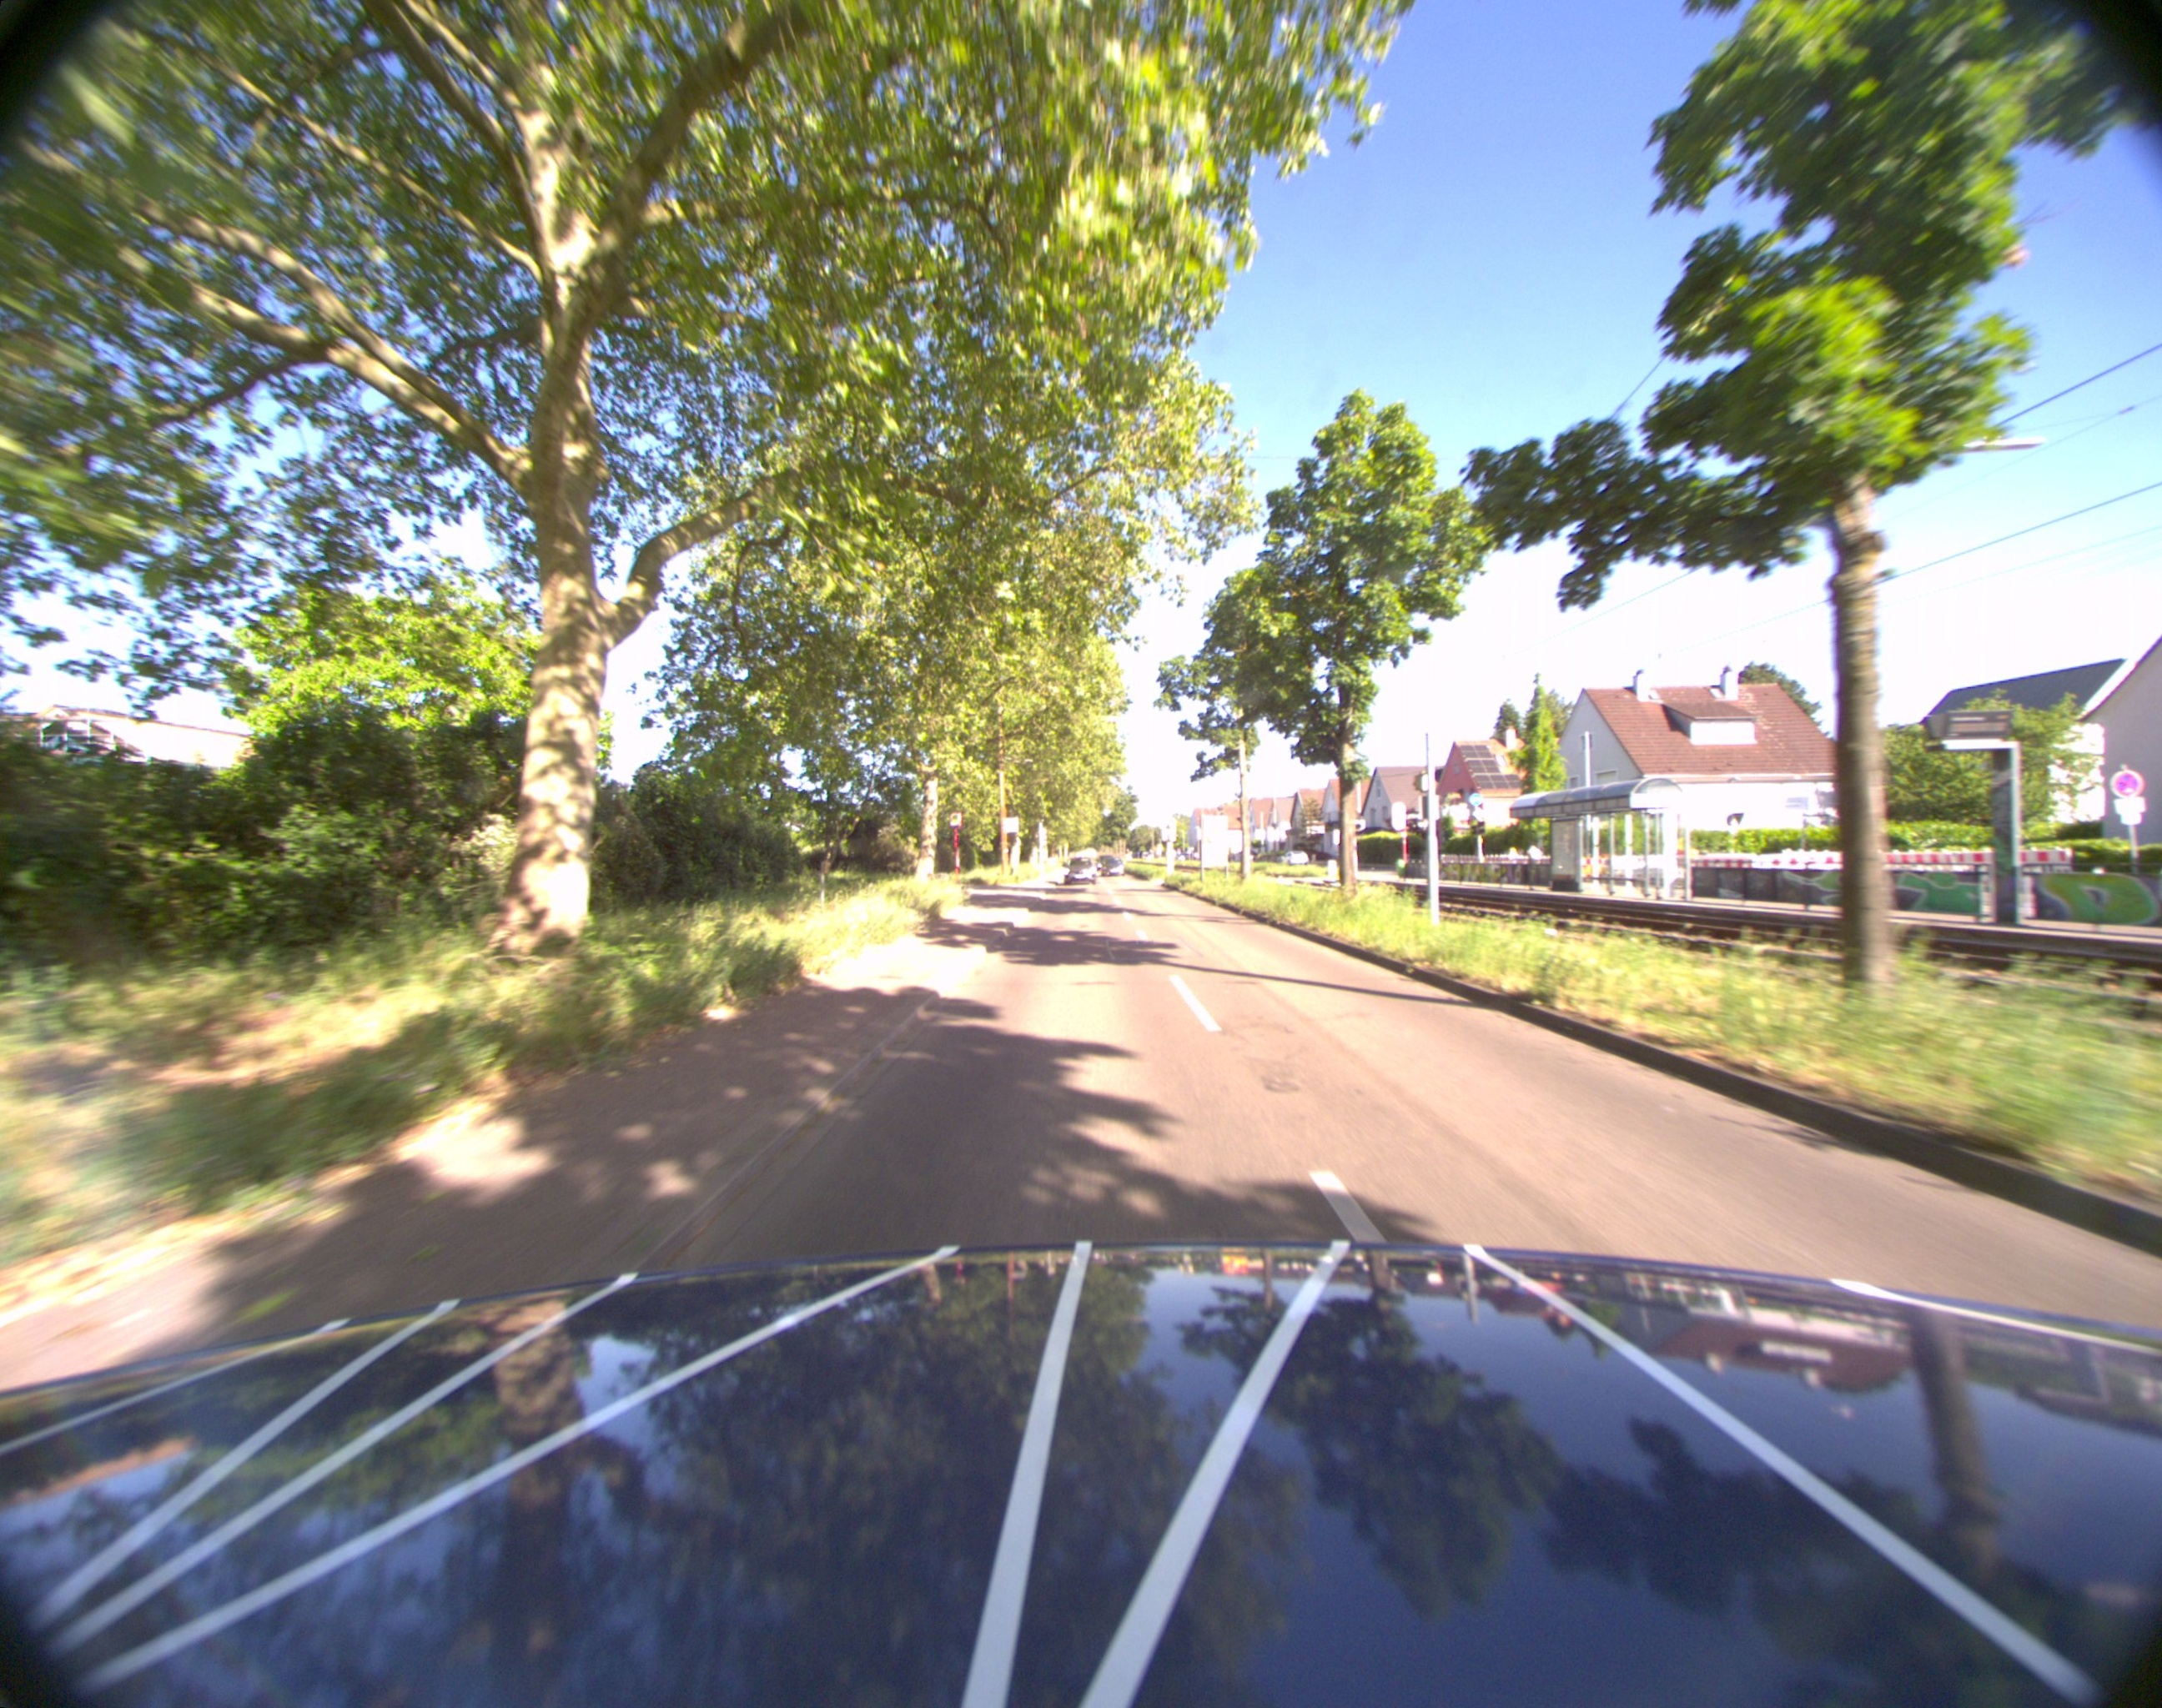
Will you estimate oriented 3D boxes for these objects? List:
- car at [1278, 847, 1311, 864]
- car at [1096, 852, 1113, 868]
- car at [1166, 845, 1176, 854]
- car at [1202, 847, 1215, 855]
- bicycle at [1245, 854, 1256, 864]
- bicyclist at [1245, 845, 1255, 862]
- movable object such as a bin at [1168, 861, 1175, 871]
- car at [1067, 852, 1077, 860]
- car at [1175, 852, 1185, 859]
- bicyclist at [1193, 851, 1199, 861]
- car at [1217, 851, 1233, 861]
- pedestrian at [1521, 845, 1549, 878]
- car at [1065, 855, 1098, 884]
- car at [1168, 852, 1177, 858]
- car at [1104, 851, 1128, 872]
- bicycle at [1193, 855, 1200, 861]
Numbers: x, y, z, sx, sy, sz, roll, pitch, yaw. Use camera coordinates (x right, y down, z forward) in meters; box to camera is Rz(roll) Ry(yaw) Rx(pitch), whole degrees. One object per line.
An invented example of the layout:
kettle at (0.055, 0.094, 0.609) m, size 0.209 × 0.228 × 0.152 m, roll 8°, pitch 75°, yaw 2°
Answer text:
car at (22.042, 0.154, 78.599) m, size 1.998 × 1.668 × 4.839 m, roll -2°, pitch 1°, yaw 1°
car at (2.473, 0.624, 81.744) m, size 1.692 × 1.499 × 3.582 m, roll -2°, pitch 1°, yaw 1°
car at (22.663, -1.194, 191.160) m, size 2.132 × 2.210 × 4.000 m, roll -2°, pitch 1°, yaw 3°
car at (22.553, -0.512, 134.606) m, size 1.756 × 1.373 × 3.823 m, roll -2°, pitch 1°, yaw 1°
bicycle at (20.060, 0.583, 89.996) m, size 0.854 × 1.128 × 2.309 m, roll -2°, pitch 1°, yaw 1°
bicyclist at (20.022, -0.053, 89.940) m, size 0.854 × 1.876 × 1.072 m, roll -2°, pitch 1°, yaw 1°
movable object such as a bin at (5.606, 0.739, 47.258) m, size 0.387 × 0.579 × 0.379 m, roll -2°, pitch 1°, yaw 9°
car at (-1.608, 0.368, 140.075) m, size 1.692 × 1.499 × 3.582 m, roll -2°, pitch 1°, yaw 1°
car at (22.446, 0.258, 172.544) m, size 1.791 × 1.497 × 4.000 m, roll -2°, pitch 1°, yaw 1°
bicyclist at (19.594, 0.320, 129.027) m, size 0.854 × 1.664 × 0.837 m, roll -2°, pitch 1°, yaw 1°
car at (22.363, 0.326, 117.908) m, size 1.738 × 1.481 × 3.755 m, roll -2°, pitch 1°, yaw 1°
pedestrian at (21.437, 0.373, 35.880) m, size 0.813 × 1.525 × 0.794 m, roll -1°, pitch -1°, yaw -6°
car at (0.054, 0.854, 43.404) m, size 1.692 × 1.499 × 3.582 m, roll -3°, pitch 1°, yaw 1°
car at (22.435, 0.224, 186.288) m, size 1.791 × 1.497 × 4.000 m, roll -2°, pitch 1°, yaw 3°
car at (2.664, 0.578, 58.704) m, size 1.692 × 1.499 × 3.582 m, roll -2°, pitch 1°, yaw 1°
bicycle at (19.622, 0.716, 129.045) m, size 0.854 × 0.946 × 2.309 m, roll -2°, pitch 1°, yaw 1°
